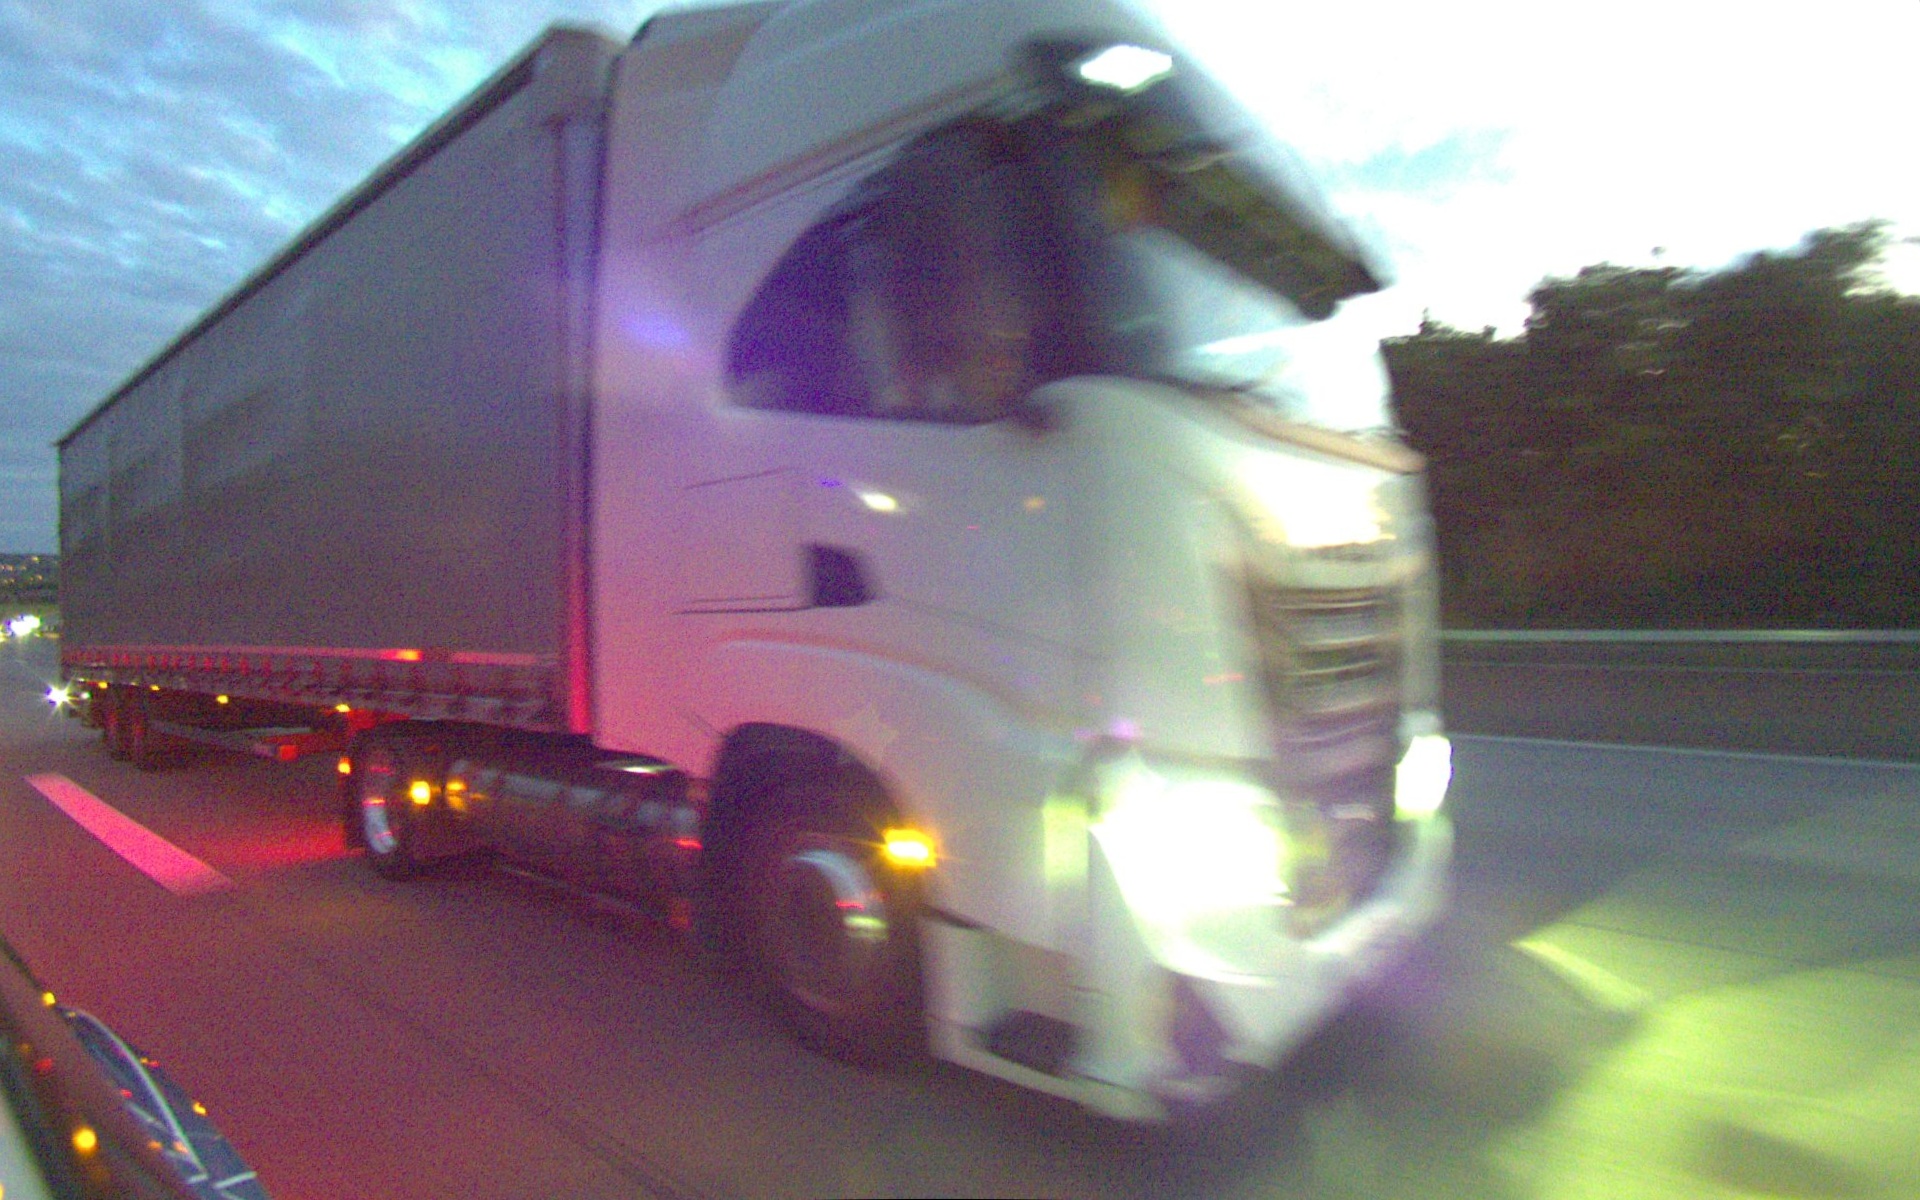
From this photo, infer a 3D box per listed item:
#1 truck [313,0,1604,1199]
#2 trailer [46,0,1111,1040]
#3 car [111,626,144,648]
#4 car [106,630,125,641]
[{"bbox_3d":[-0.671,-0.448,5.054,6.152,3.931,2.750,-2,-2,41],"label":"truck"},{"bbox_3d":[-5.623,-0.291,9.456,14.813,3.945,2.744,-2,-2,42],"label":"trailer"},{"bbox_3d":[-81.073,3.575,98.495,4.489,2.029,1.971,-2,-1,43],"label":"car"},{"bbox_3d":[-136.717,5.758,163.843,4.002,1.729,1.971,-1,0,45],"label":"car"}]
